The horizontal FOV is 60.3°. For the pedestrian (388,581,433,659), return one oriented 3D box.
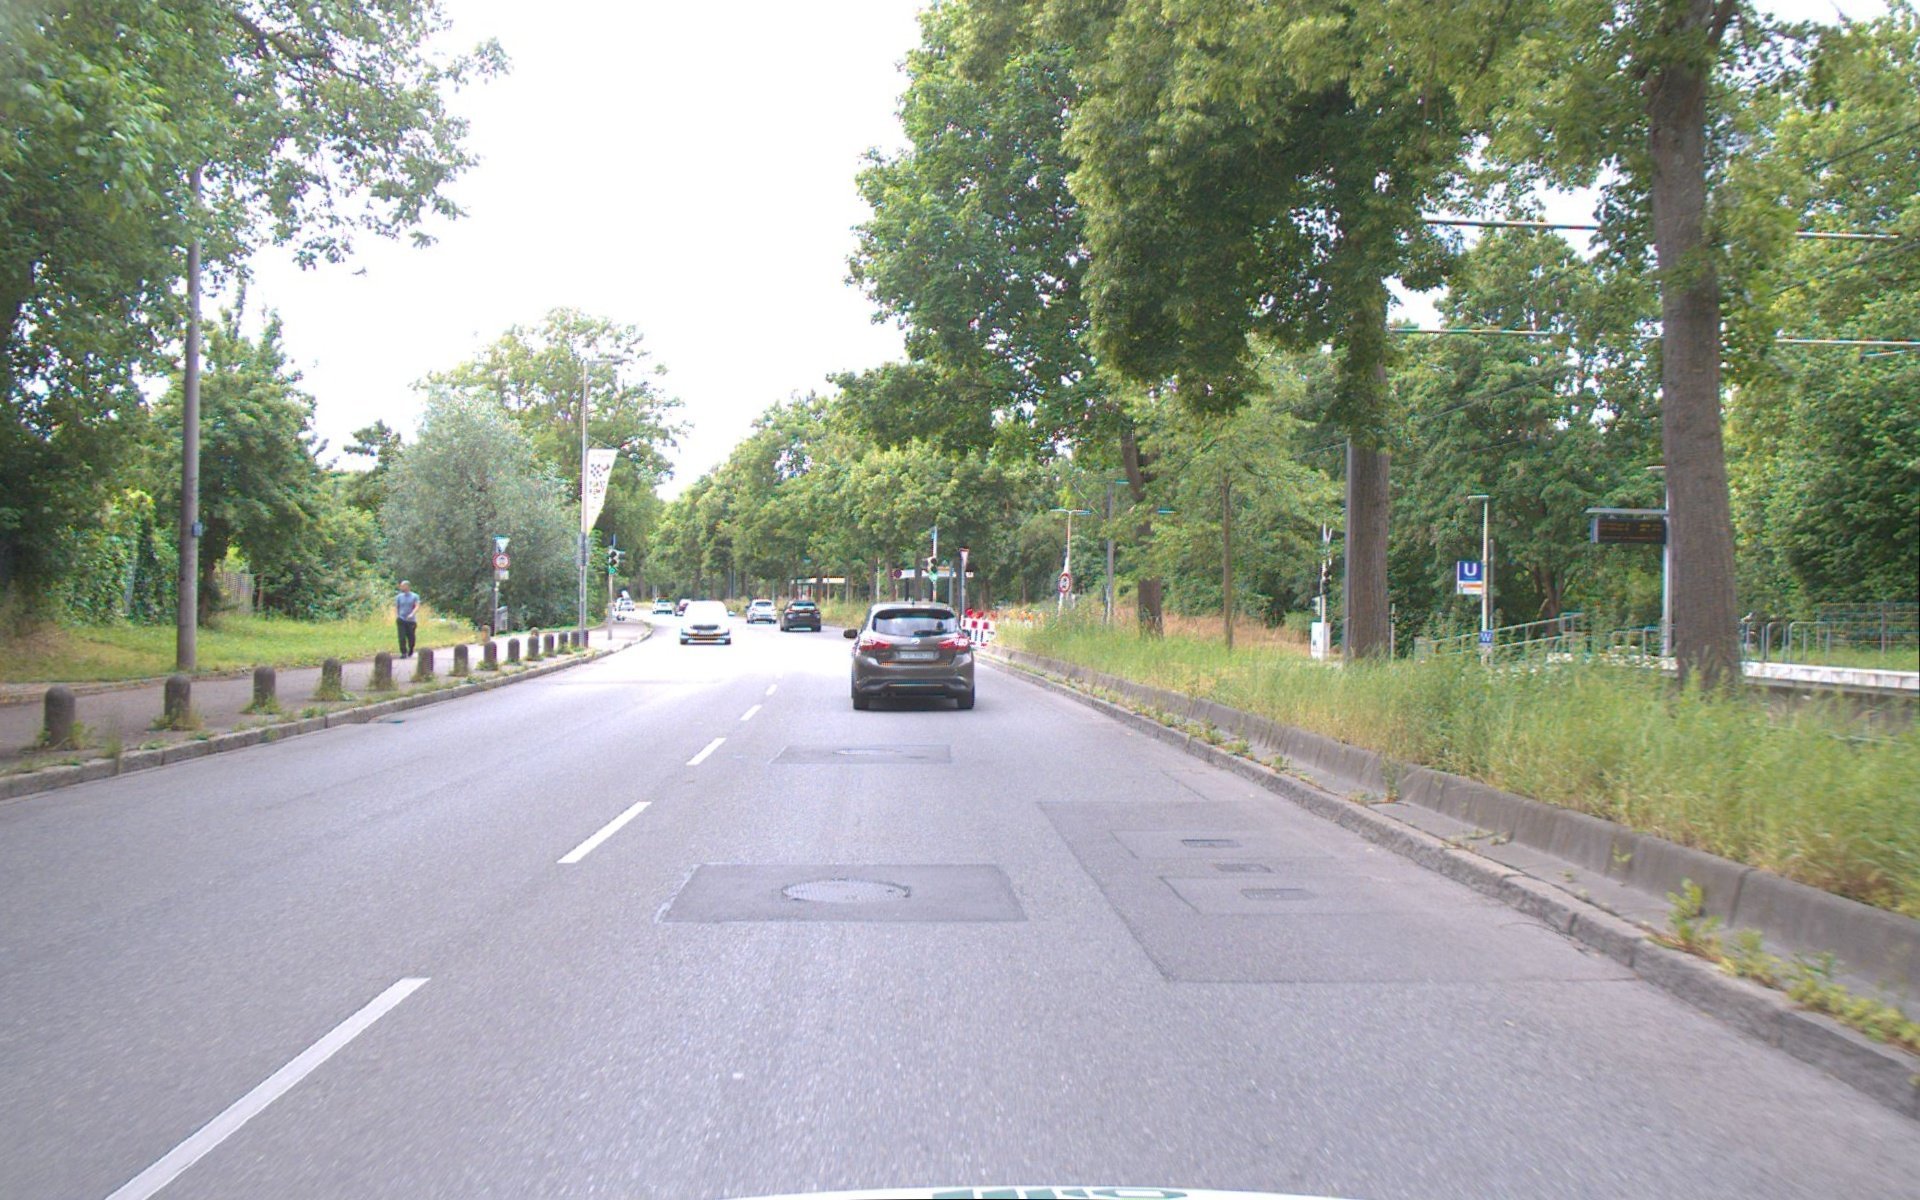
[{"bbox_3d":[-11.924,0.429,35.913,0.676,1.663,0.837,2,0,-4],"label":"pedestrian"}]

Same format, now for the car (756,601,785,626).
[{"bbox_3d":[-12.067,0.836,104.979,1.742,1.498,3.994,3,0,-7],"label":"car"}]

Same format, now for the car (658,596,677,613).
[{"bbox_3d":[-28.087,0.444,158.667,1.744,1.498,3.990,1,0,-10],"label":"car"}]

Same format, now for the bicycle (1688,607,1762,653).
[{"bbox_3d":[17.382,0.682,37.583,1.480,0.990,0.449,3,-1,-7],"label":"bicycle"}]

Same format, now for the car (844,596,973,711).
[{"bbox_3d":[-0.758,0.732,24.837,1.779,1.534,3.999,0,1,-2],"label":"car"}]

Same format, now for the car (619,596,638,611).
[{"bbox_3d":[-35.805,0.333,178.660,1.745,1.498,3.986,3,0,-13],"label":"car"}]

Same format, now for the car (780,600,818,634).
[{"bbox_3d":[-7.704,0.791,79.137,1.742,1.498,3.995,3,0,-6],"label":"car"}]

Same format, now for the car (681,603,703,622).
[{"bbox_3d":[-23.015,1.026,141.996,1.743,1.497,3.992,4,-1,-9],"label":"car"}]

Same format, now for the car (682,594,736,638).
[{"bbox_3d":[-8.851,0.539,58.052,1.741,1.464,4.350,-1,0,-10],"label":"car"}]
